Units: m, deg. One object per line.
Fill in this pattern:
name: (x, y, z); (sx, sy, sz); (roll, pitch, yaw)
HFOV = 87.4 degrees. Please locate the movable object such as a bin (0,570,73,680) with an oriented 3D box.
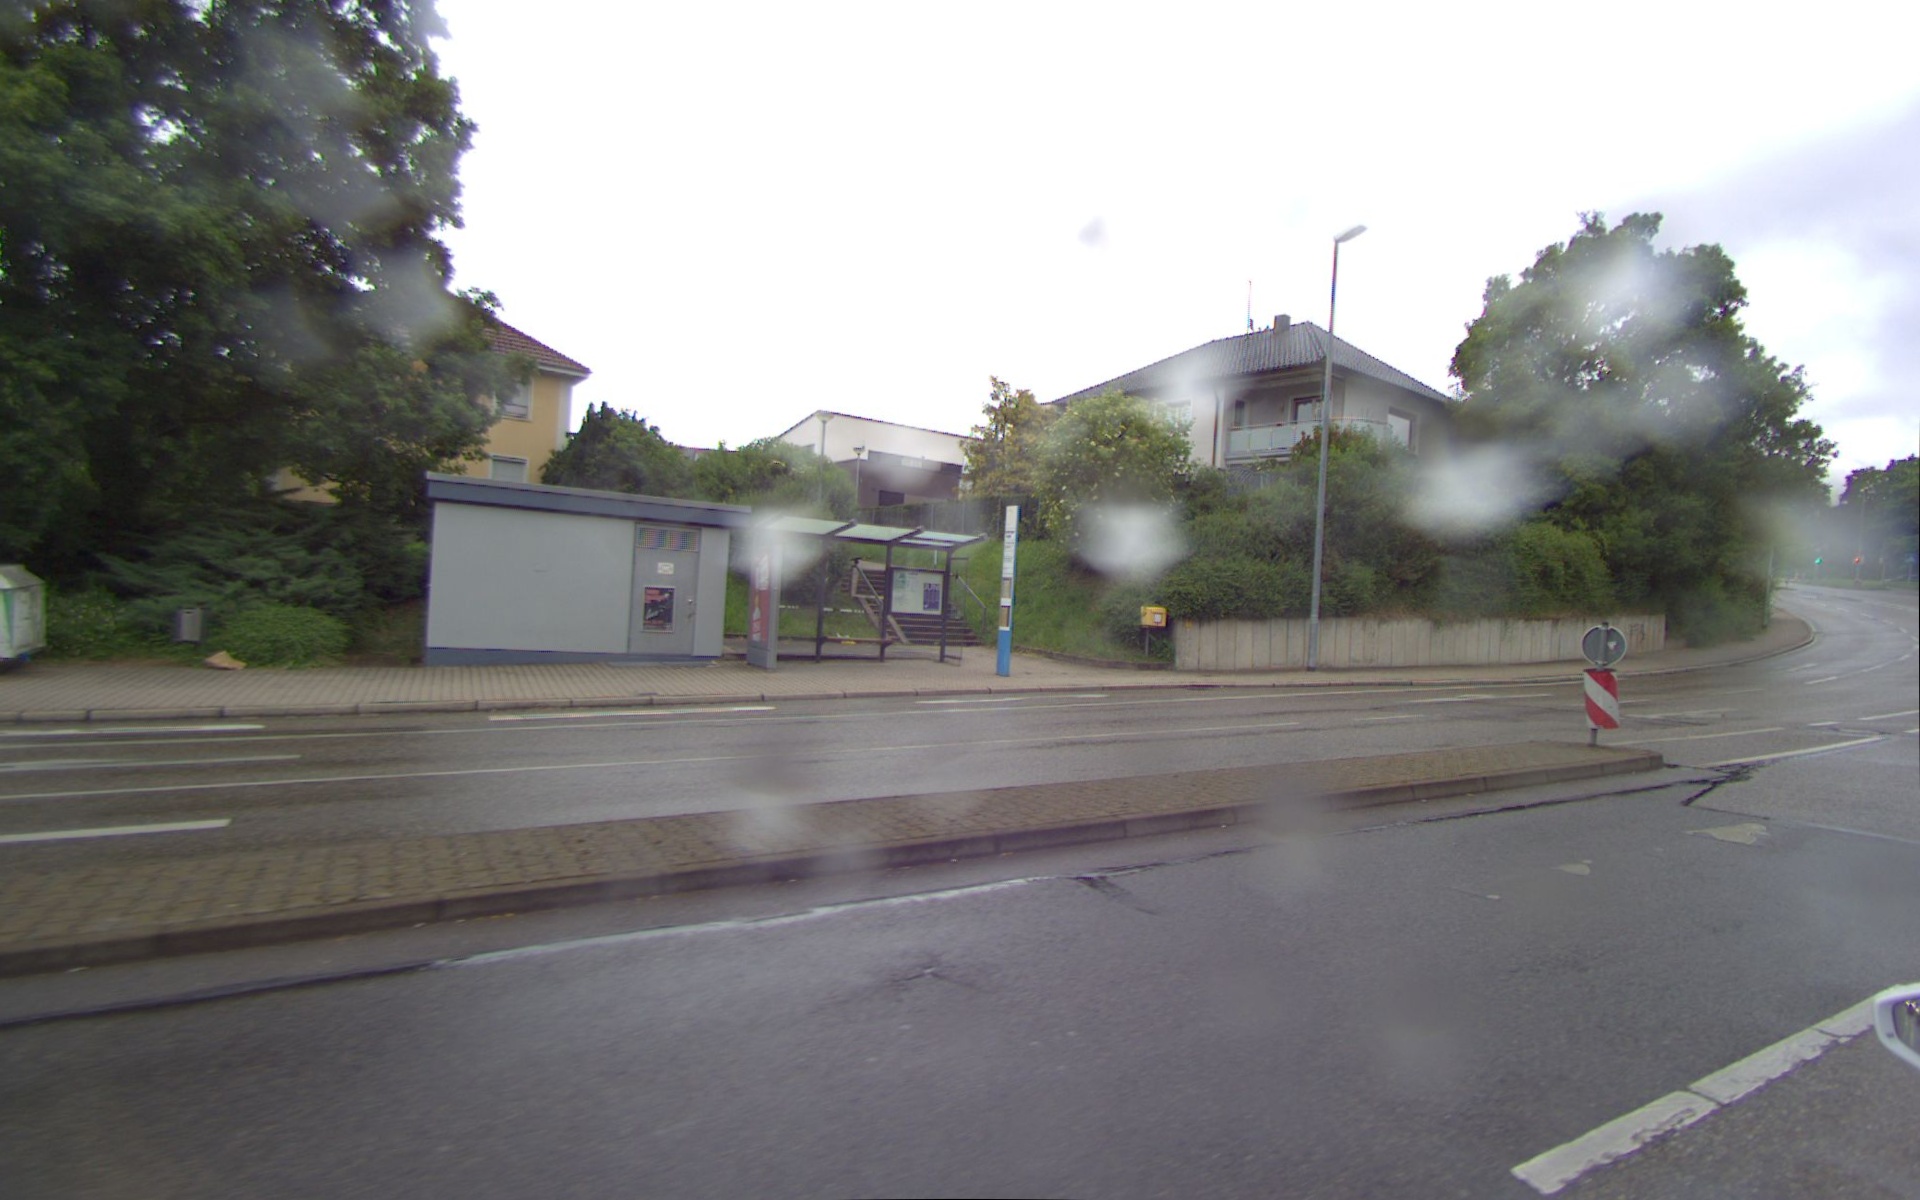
movable object such as a bin: (-14.232, 0.344, 14.756); (1.327, 1.535, 2.049); (1, 0, -28)
